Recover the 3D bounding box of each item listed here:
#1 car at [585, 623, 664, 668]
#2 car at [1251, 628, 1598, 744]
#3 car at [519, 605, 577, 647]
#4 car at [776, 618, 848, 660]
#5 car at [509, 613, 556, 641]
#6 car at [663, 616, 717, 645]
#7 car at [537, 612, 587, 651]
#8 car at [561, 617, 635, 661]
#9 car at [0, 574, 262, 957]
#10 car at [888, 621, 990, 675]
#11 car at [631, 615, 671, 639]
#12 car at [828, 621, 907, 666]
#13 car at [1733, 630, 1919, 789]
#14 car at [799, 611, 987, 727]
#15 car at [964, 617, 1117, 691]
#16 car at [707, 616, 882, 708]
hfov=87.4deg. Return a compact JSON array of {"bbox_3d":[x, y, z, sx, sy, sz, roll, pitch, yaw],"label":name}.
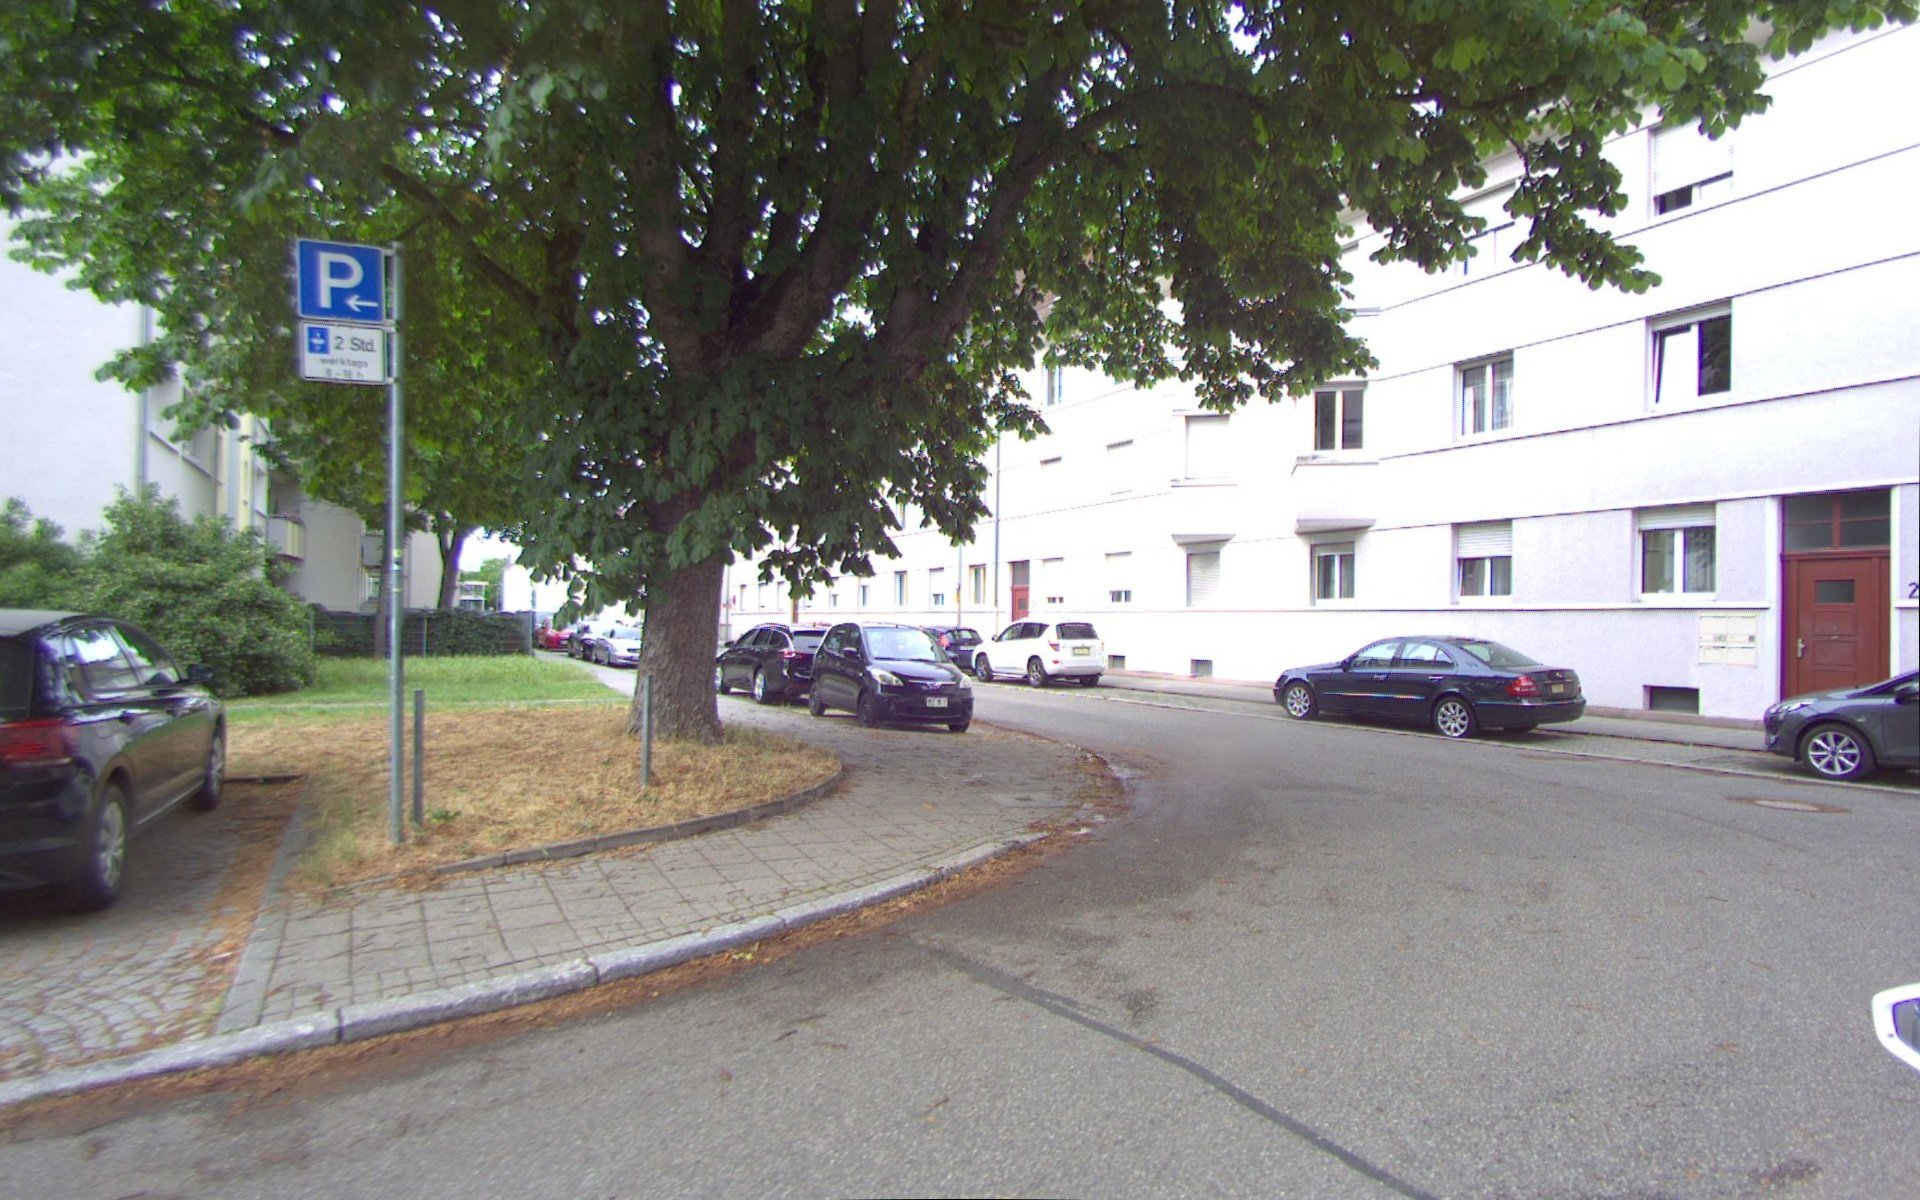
[{"bbox_3d":[-11.029,1.450,32.878,1.682,1.275,3.984,4,-2,-29],"label":"car"},{"bbox_3d":[7.097,1.217,15.964,1.730,1.440,4.909,1,0,-30],"label":"car"},{"bbox_3d":[-20.750,1.281,50.508,1.864,1.928,4.988,5,-2,-31],"label":"car"},{"bbox_3d":[-6.019,1.529,40.614,1.681,1.545,3.796,0,0,-29],"label":"car"},{"bbox_3d":[-24.000,1.498,56.286,1.816,1.478,4.224,3,-2,-31],"label":"car"},{"bbox_3d":[-15.248,1.706,56.584,1.741,1.487,4.563,3,-2,-30],"label":"car"},{"bbox_3d":[-18.305,1.429,46.148,1.550,1.589,3.613,5,-3,-30],"label":"car"},{"bbox_3d":[-13.552,1.406,37.457,1.826,1.439,4.594,4,-2,-29],"label":"car"},{"bbox_3d":[-5.358,0.702,5.643,1.807,1.598,3.816,1,-1,-27],"label":"car"},{"bbox_3d":[-0.719,1.422,30.735,1.553,1.498,3.842,1,-1,-28],"label":"car"},{"bbox_3d":[-20.264,1.732,65.828,1.656,1.439,3.968,0,0,-30],"label":"car"},{"bbox_3d":[-3.337,1.504,35.667,1.552,1.493,3.669,1,-1,-28],"label":"car"},{"bbox_3d":[10.549,1.124,10.116,1.742,1.545,4.045,1,0,-30],"label":"car"},{"bbox_3d":[-1.119,0.964,15.142,1.510,1.513,3.567,4,-2,-26],"label":"car"},{"bbox_3d":[1.977,1.301,25.991,1.827,1.696,4.253,0,0,-31],"label":"car"},{"bbox_3d":[-3.362,1.123,19.546,1.851,1.483,4.798,4,-2,-28],"label":"car"}]
